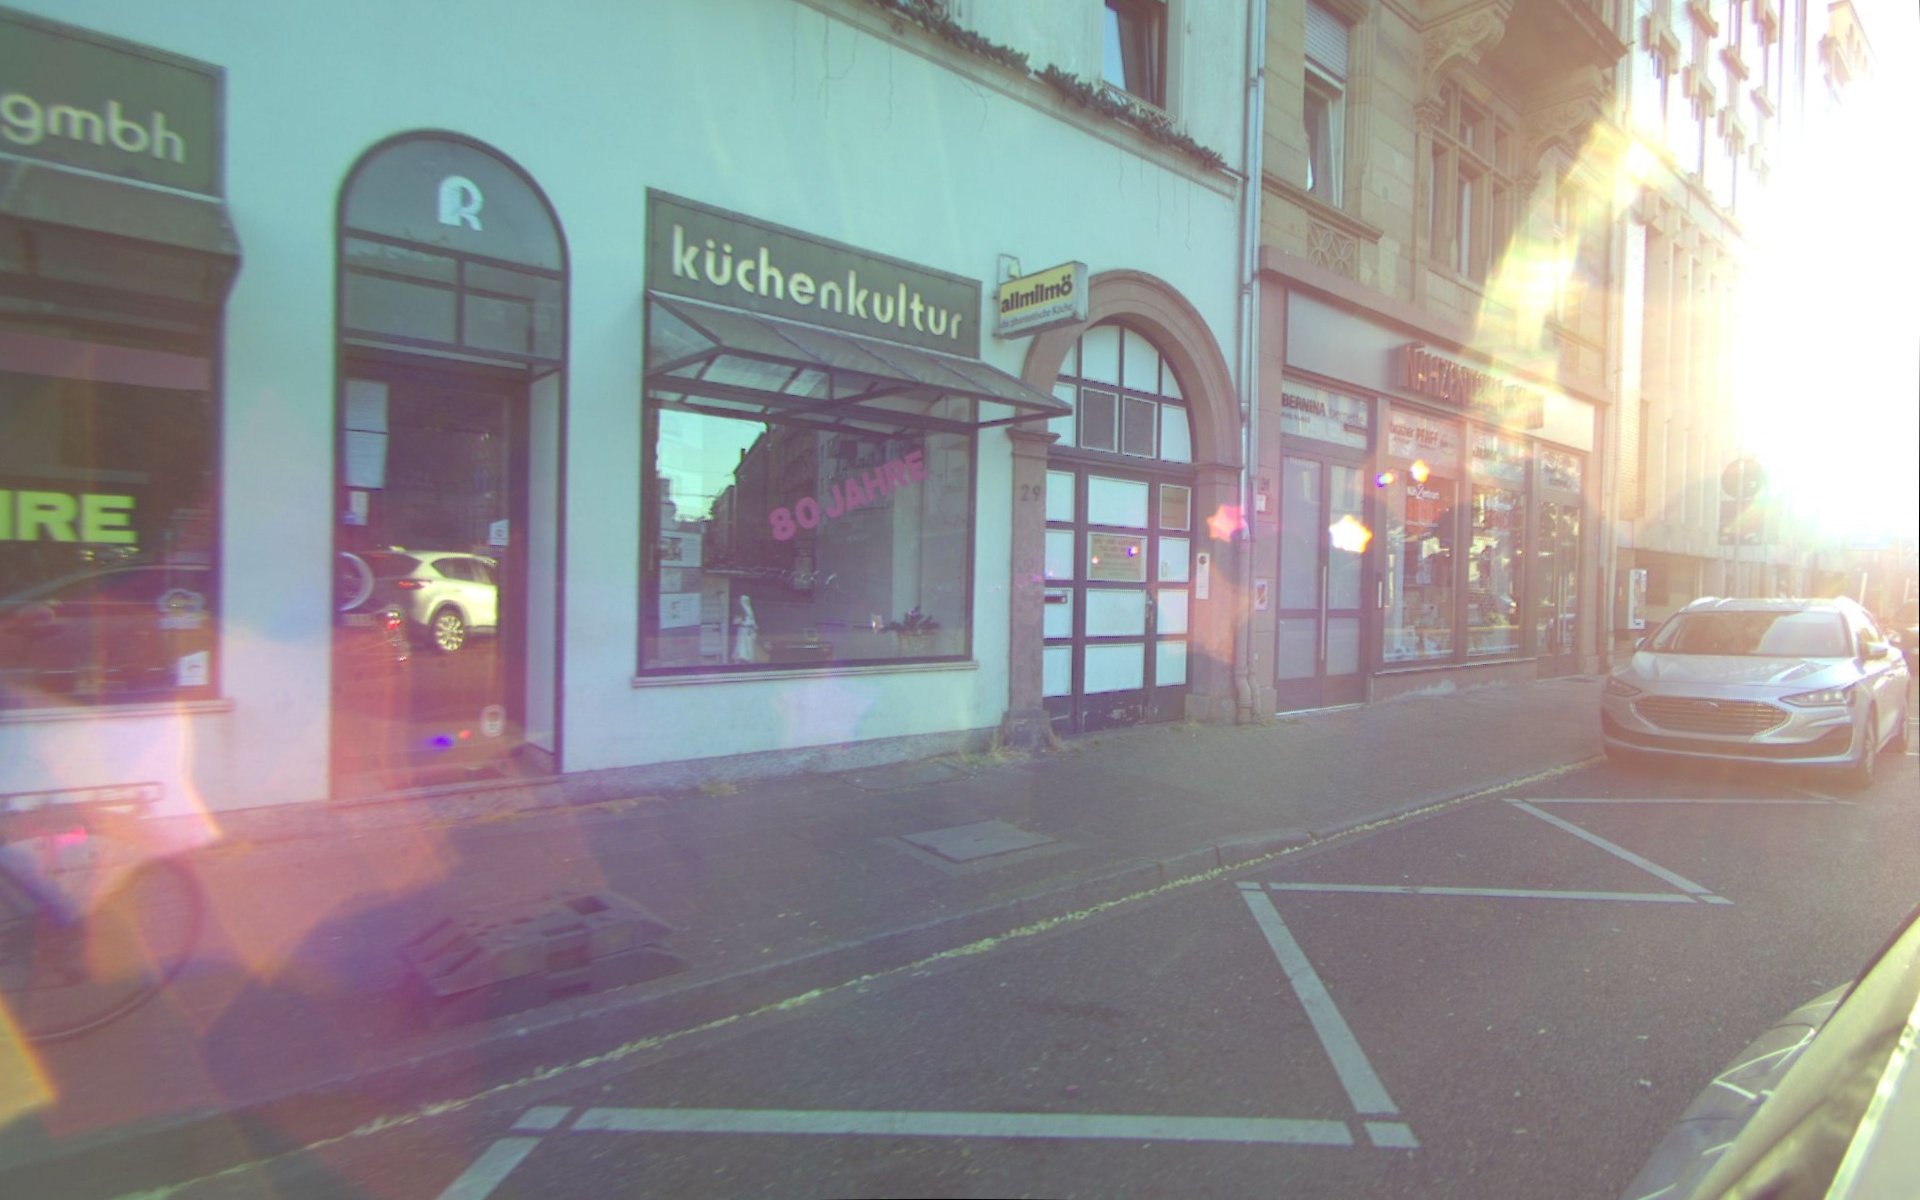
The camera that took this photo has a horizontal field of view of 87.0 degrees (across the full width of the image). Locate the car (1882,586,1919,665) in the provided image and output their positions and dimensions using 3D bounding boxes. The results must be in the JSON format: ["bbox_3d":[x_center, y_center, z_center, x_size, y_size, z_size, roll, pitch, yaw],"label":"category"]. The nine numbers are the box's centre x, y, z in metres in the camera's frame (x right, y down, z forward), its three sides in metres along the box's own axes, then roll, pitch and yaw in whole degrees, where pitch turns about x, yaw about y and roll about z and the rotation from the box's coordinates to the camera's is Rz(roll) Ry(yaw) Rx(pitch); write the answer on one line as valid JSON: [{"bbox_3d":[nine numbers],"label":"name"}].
[{"bbox_3d":[21.071,0.562,21.356,3.928,1.555,1.764,0,4,-40],"label":"car"}]

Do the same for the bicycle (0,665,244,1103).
[{"bbox_3d":[-2.895,0.732,2.399,1.913,1.028,0.505,0,2,-42],"label":"bicycle"}]

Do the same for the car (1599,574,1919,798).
[{"bbox_3d":[7.619,0.574,9.315,4.740,1.556,1.761,-1,0,-43],"label":"car"}]
